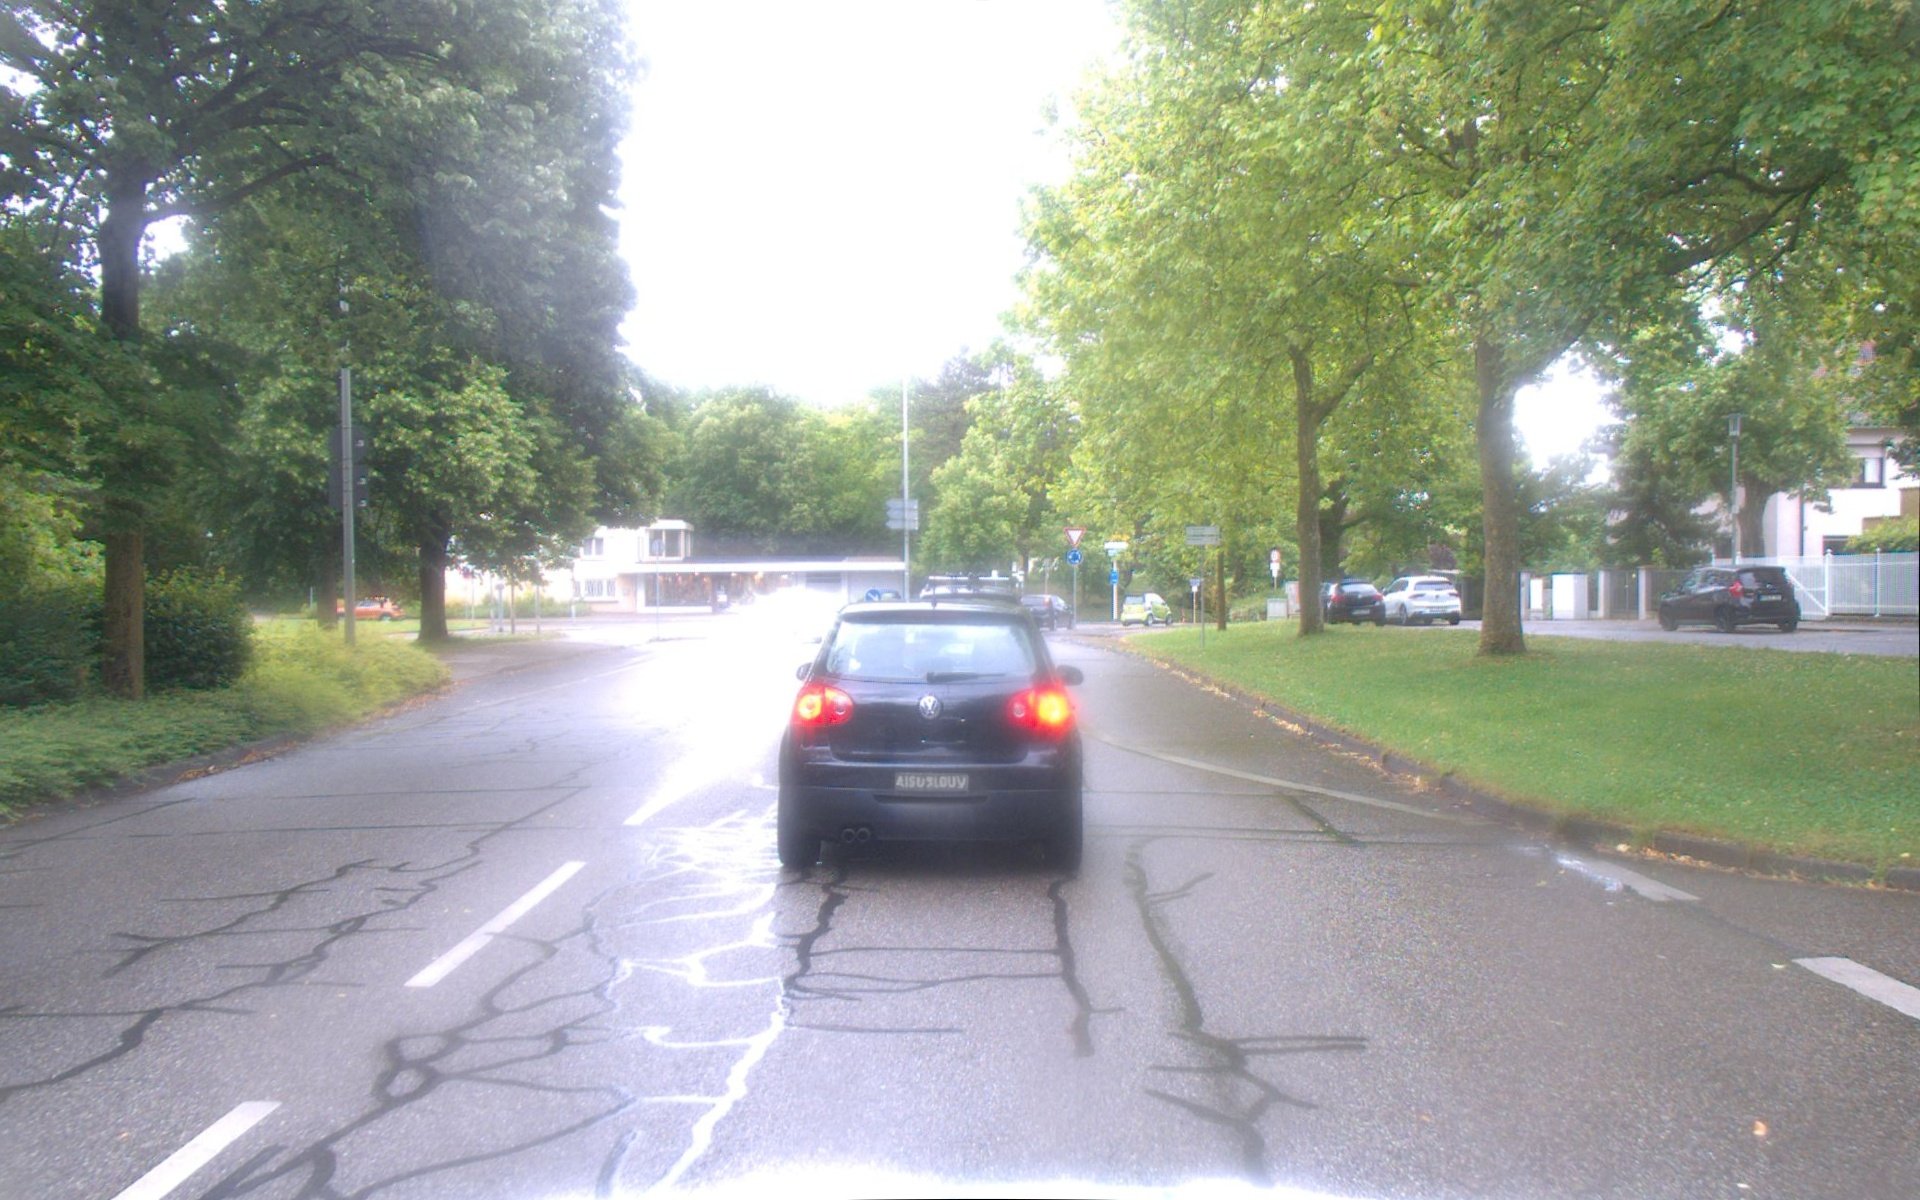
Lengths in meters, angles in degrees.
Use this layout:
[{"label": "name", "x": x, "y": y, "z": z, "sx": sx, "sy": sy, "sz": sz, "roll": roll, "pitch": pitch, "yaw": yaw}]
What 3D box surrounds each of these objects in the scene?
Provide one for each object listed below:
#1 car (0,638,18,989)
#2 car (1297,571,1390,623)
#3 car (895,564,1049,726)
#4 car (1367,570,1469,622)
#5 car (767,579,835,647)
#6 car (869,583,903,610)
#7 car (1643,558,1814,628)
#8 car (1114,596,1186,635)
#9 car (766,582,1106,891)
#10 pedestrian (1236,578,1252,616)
[{"label": "car", "x": -4.577, "y": 0.859, "z": 4.382, "sx": 1.729, "sy": 1.372, "sz": 4.375, "roll": -2, "pitch": 0, "yaw": -2}, {"label": "car", "x": 11.936, "y": -0.076, "z": 51.773, "sx": 1.728, "sy": 1.497, "sz": 4.597, "roll": -2, "pitch": 0, "yaw": -1}, {"label": "car", "x": 0.108, "y": 0.529, "z": 21.234, "sx": 1.729, "sy": 1.833, "sz": 4.245, "roll": -1, "pitch": 0, "yaw": -1}, {"label": "car", "x": 14.343, "y": -0.114, "z": 52.051, "sx": 1.808, "sy": 1.497, "sz": 4.424, "roll": -2, "pitch": 0, "yaw": -2}, {"label": "car", "x": -5.095, "y": 0.410, "z": 52.535, "sx": 1.956, "sy": 2.049, "sz": 4.565, "roll": 1, "pitch": 0, "yaw": -8}, {"label": "car", "x": -4.503, "y": -0.214, "z": 100.147, "sx": 1.778, "sy": 1.512, "sz": 3.826, "roll": -2, "pitch": 0, "yaw": -6}, {"label": "car", "x": 17.965, "y": -0.149, "z": 38.892, "sx": 1.725, "sy": 1.497, "sz": 4.353, "roll": -2, "pitch": 0, "yaw": -4}, {"label": "car", "x": 9.154, "y": 0.760, "z": 79.296, "sx": 1.783, "sy": 1.780, "sz": 3.987, "roll": 1, "pitch": 0, "yaw": 34}, {"label": "car", "x": -0.148, "y": 0.712, "z": 10.511, "sx": 1.729, "sy": 1.565, "sz": 3.999, "roll": 1, "pitch": 0, "yaw": -1}, {"label": "pedestrian", "x": 13.327, "y": -0.144, "z": 77.657, "sx": 0.519, "sy": 1.743, "sz": 0.633, "roll": 1, "pitch": -1, "yaw": -14}]
